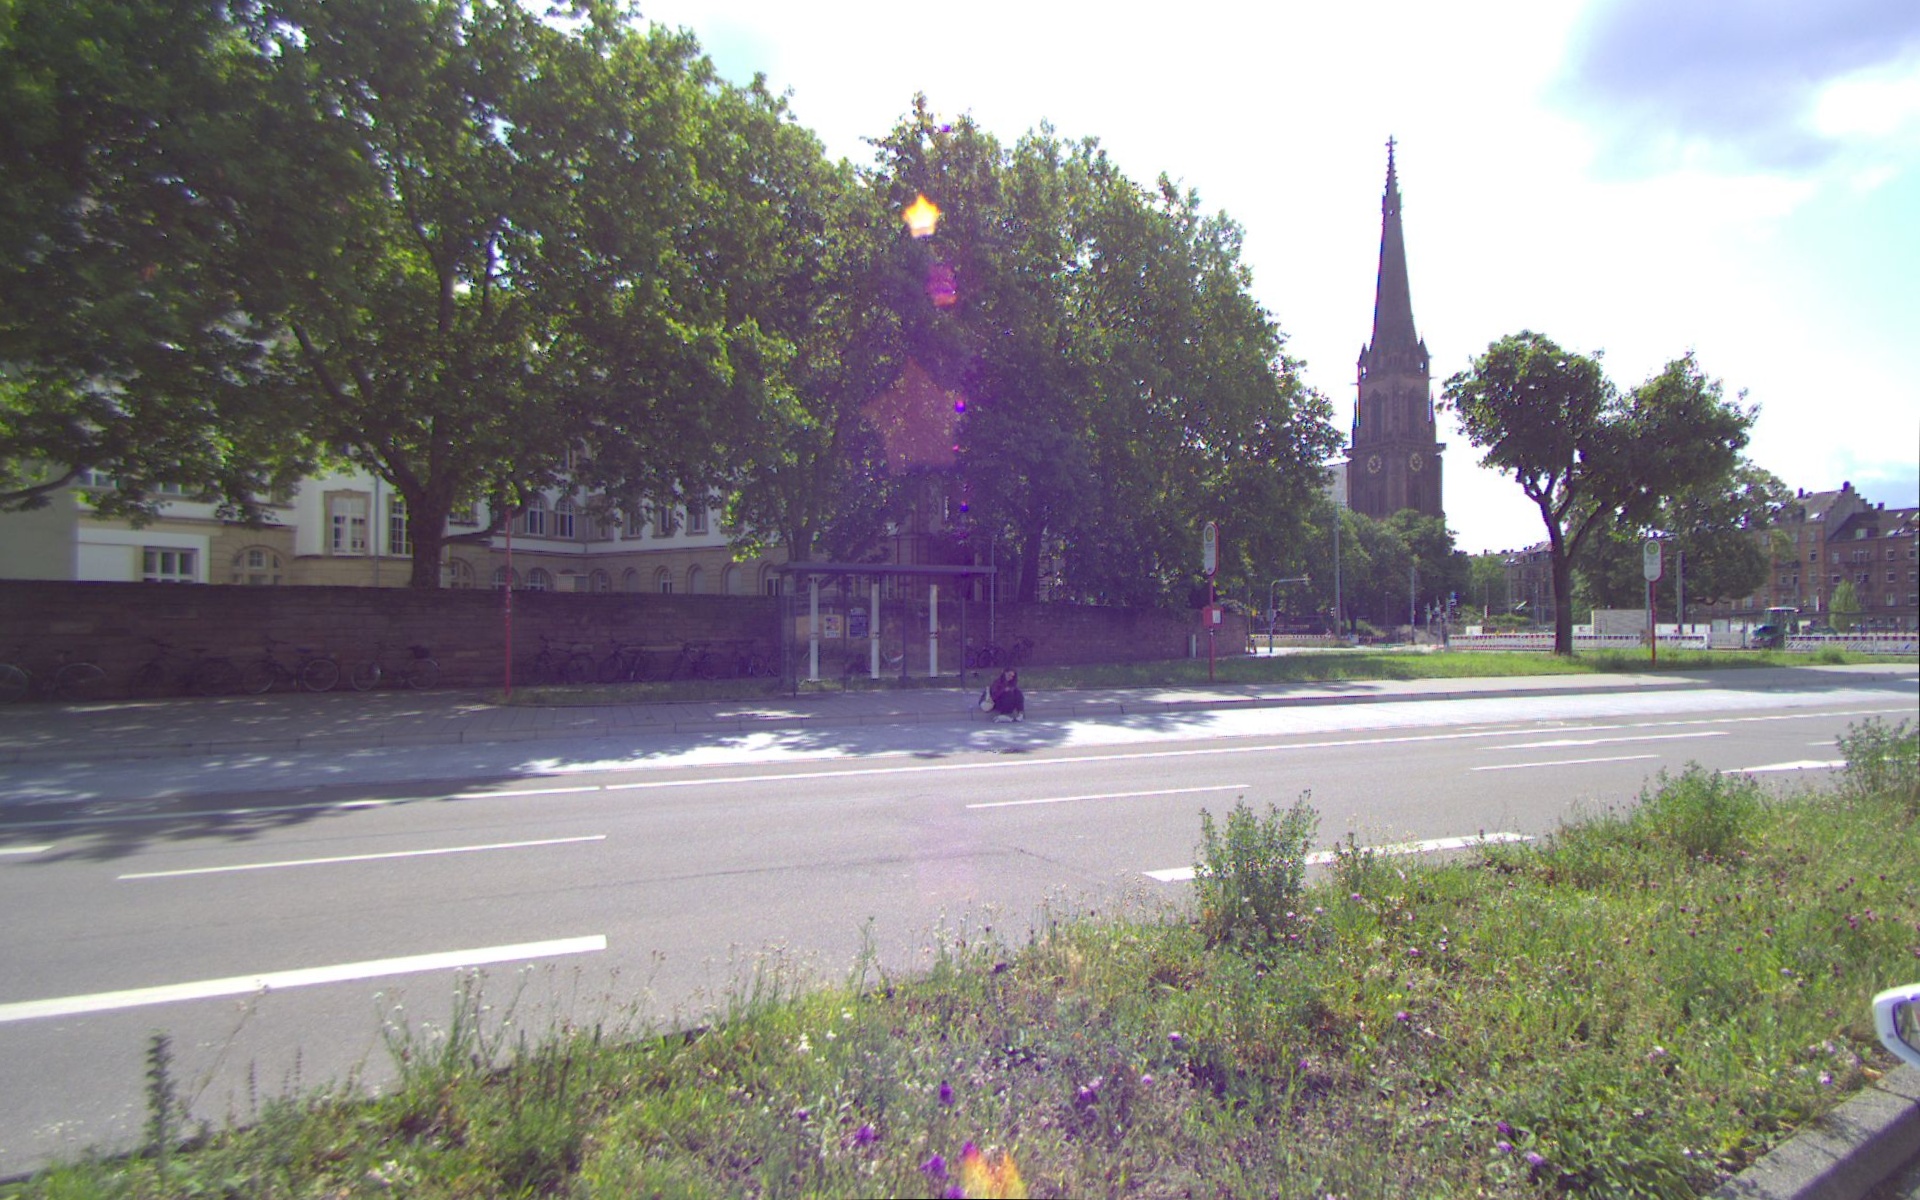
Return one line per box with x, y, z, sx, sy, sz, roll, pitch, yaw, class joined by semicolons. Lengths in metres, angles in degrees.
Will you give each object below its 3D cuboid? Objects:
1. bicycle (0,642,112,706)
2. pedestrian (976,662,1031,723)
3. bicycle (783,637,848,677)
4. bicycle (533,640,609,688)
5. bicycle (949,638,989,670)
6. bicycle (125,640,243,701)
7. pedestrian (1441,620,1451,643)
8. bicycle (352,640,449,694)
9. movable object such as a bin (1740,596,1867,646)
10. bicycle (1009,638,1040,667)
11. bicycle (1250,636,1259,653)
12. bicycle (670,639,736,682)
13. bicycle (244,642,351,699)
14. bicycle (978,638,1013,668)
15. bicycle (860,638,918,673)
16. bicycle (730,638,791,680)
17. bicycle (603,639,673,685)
-16.489;1.319;18.149;1.740;1.087;0.577;1;-1;-39;bicycle
0.743;1.589;17.393;0.732;0.975;0.693;0;-1;-23;pedestrian
-4.223;1.649;29.353;1.854;1.087;0.577;1;-1;-39;bicycle
-9.372;1.525;24.228;1.620;1.087;0.576;1;-1;-44;bicycle
0.313;1.831;34.129;1.445;1.024;0.466;1;-1;-43;bicycle
-14.915;1.338;19.335;1.743;1.087;0.576;1;-1;-44;bicycle
40.001;2.580;82.651;0.491;1.874;0.528;1;-1;-14;pedestrian
-12.095;1.432;21.743;1.743;1.087;0.576;1;-1;-44;bicycle
51.217;1.280;61.134;5.436;2.923;2.287;0;-2;23;movable object such as a bin
2.355;1.908;36.470;1.245;1.024;0.349;1;-1;-43;bicycle
17.320;2.608;59.050;0.386;1.005;1.523;0;-2;21;bicycle
-6.804;1.596;26.650;1.620;1.087;0.576;1;-1;-44;bicycle
-13.421;1.408;20.380;1.743;1.087;0.576;1;-1;-44;bicycle
1.256;1.851;35.300;1.360;1.024;0.387;1;-1;-43;bicycle
-2.199;1.708;31.310;1.950;1.024;0.466;1;-1;-43;bicycle
-5.543;1.625;27.918;1.620;1.087;0.576;1;-1;-44;bicycle
-8.126;1.547;25.396;1.620;1.087;0.576;1;-1;-44;bicycle
